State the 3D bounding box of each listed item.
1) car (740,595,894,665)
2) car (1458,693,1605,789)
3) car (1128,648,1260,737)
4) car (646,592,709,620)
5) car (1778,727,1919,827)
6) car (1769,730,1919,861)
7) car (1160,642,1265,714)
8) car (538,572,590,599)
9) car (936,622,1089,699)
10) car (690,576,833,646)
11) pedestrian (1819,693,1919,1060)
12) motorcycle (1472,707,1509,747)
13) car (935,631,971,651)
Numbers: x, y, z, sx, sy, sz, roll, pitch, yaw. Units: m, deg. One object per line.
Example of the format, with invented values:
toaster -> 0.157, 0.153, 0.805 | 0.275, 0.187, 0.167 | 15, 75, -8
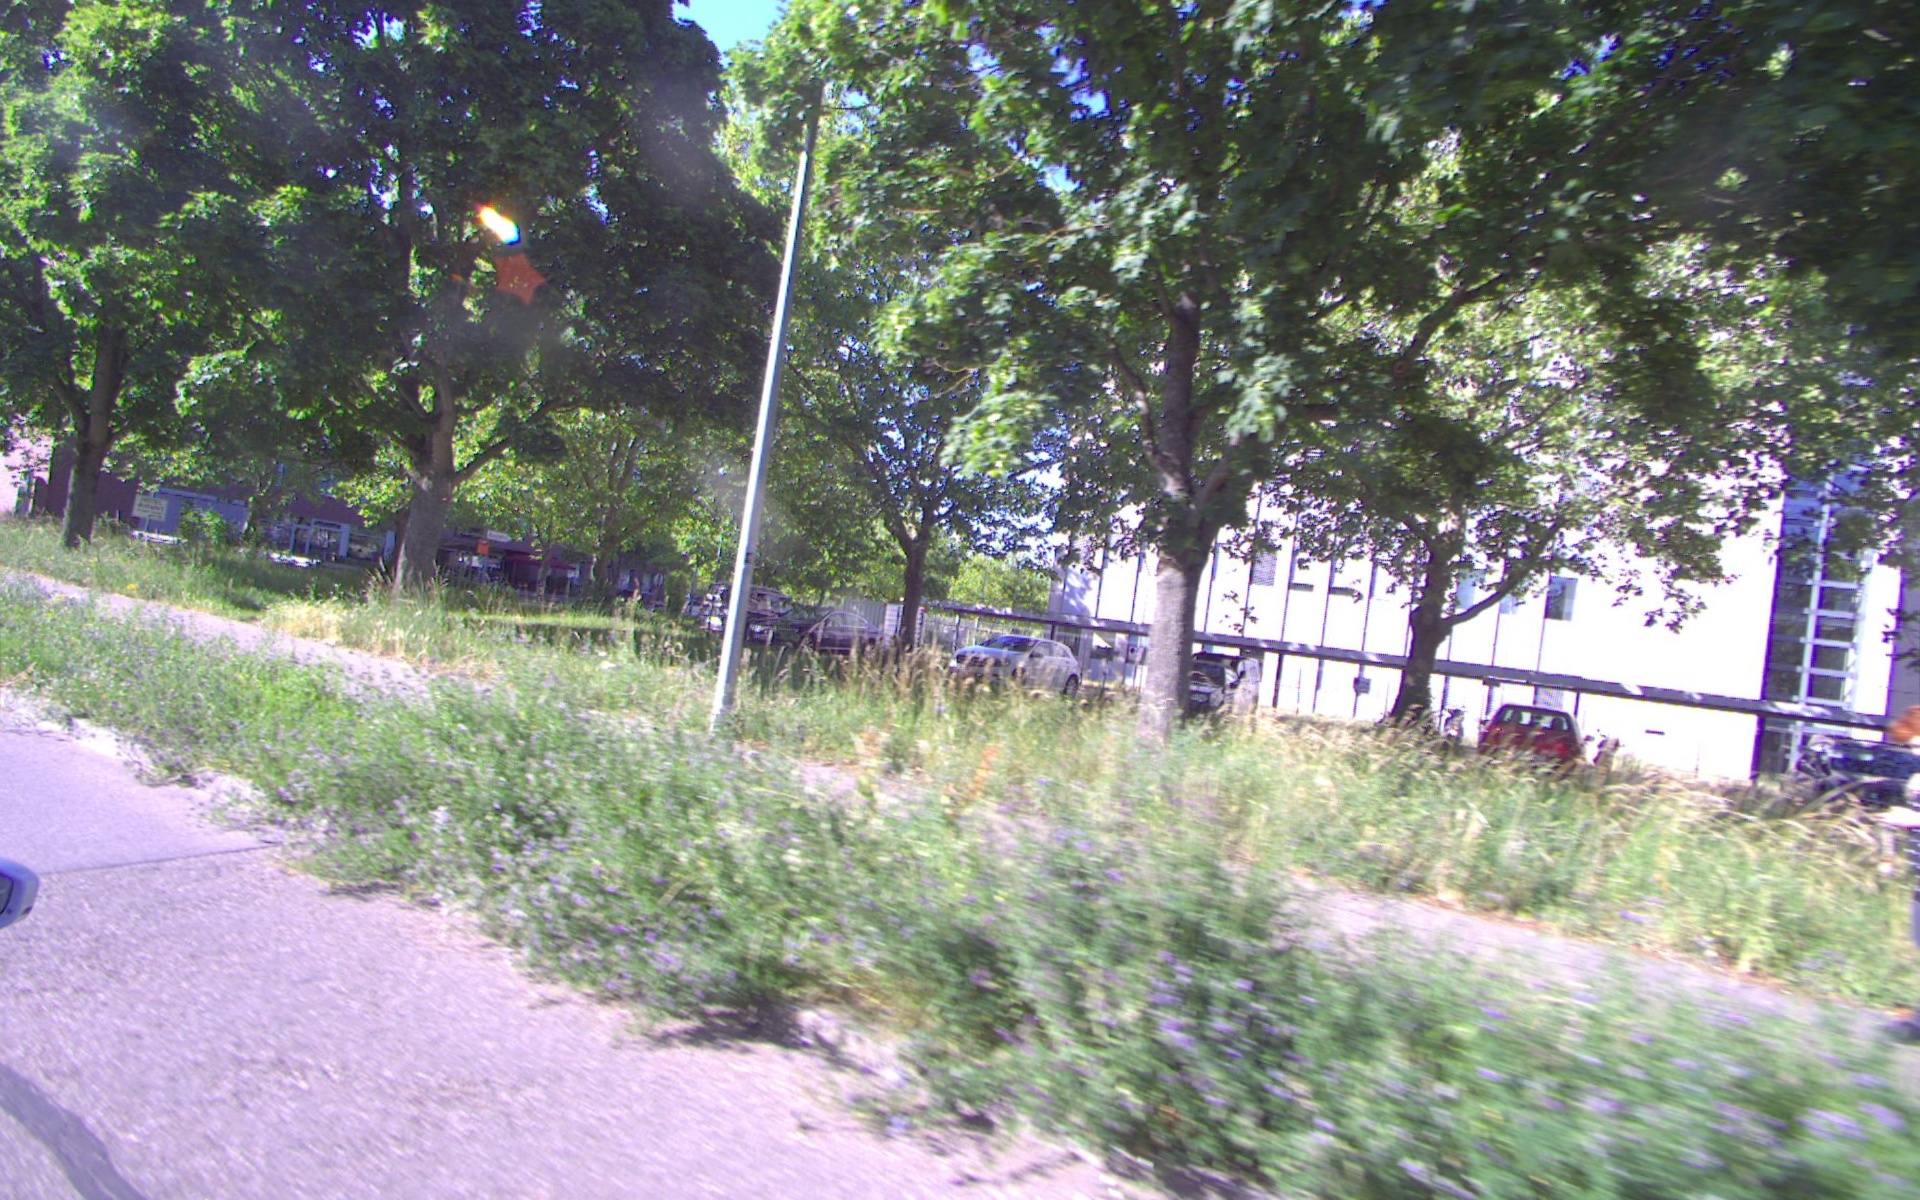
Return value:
car -> -3.910, 0.883, 28.206 | 1.662, 1.476, 4.361 | 7, -2, 34
car -> 11.141, 2.655, 19.454 | 1.910, 1.340, 4.295 | 8, 0, 36
car -> 5.166, 2.000, 21.795 | 1.677, 1.543, 4.005 | 7, -2, 28
car -> -20.945, 0.474, 74.688 | 1.800, 1.414, 4.524 | 7, -3, 28
car -> 23.529, 4.574, 26.649 | 1.941, 1.973, 4.758 | 8, -1, 31
car -> 14.787, 3.095, 16.132 | 1.851, 1.615, 4.403 | 7, -2, 28
car -> 8.616, 2.697, 34.057 | 1.926, 2.037, 4.593 | 7, -2, 32
car -> -35.399, -1.286, 89.994 | 1.839, 1.849, 4.002 | 7, -2, 22
car -> 1.405, 1.548, 25.058 | 1.795, 1.448, 4.171 | 7, -2, 34
car -> -5.708, 0.370, 29.387 | 1.709, 1.523, 4.037 | 7, -2, 32
pedestrian -> 4.661, 1.286, 4.672 | 0.750, 1.587, 0.826 | 7, -1, 32
motorcycle -> 21.342, 5.090, 40.539 | 0.998, 1.336, 3.043 | 7, -1, 25
car -> -0.701, 4.196, 102.444 | 1.800, 1.479, 4.230 | 7, -2, 28
